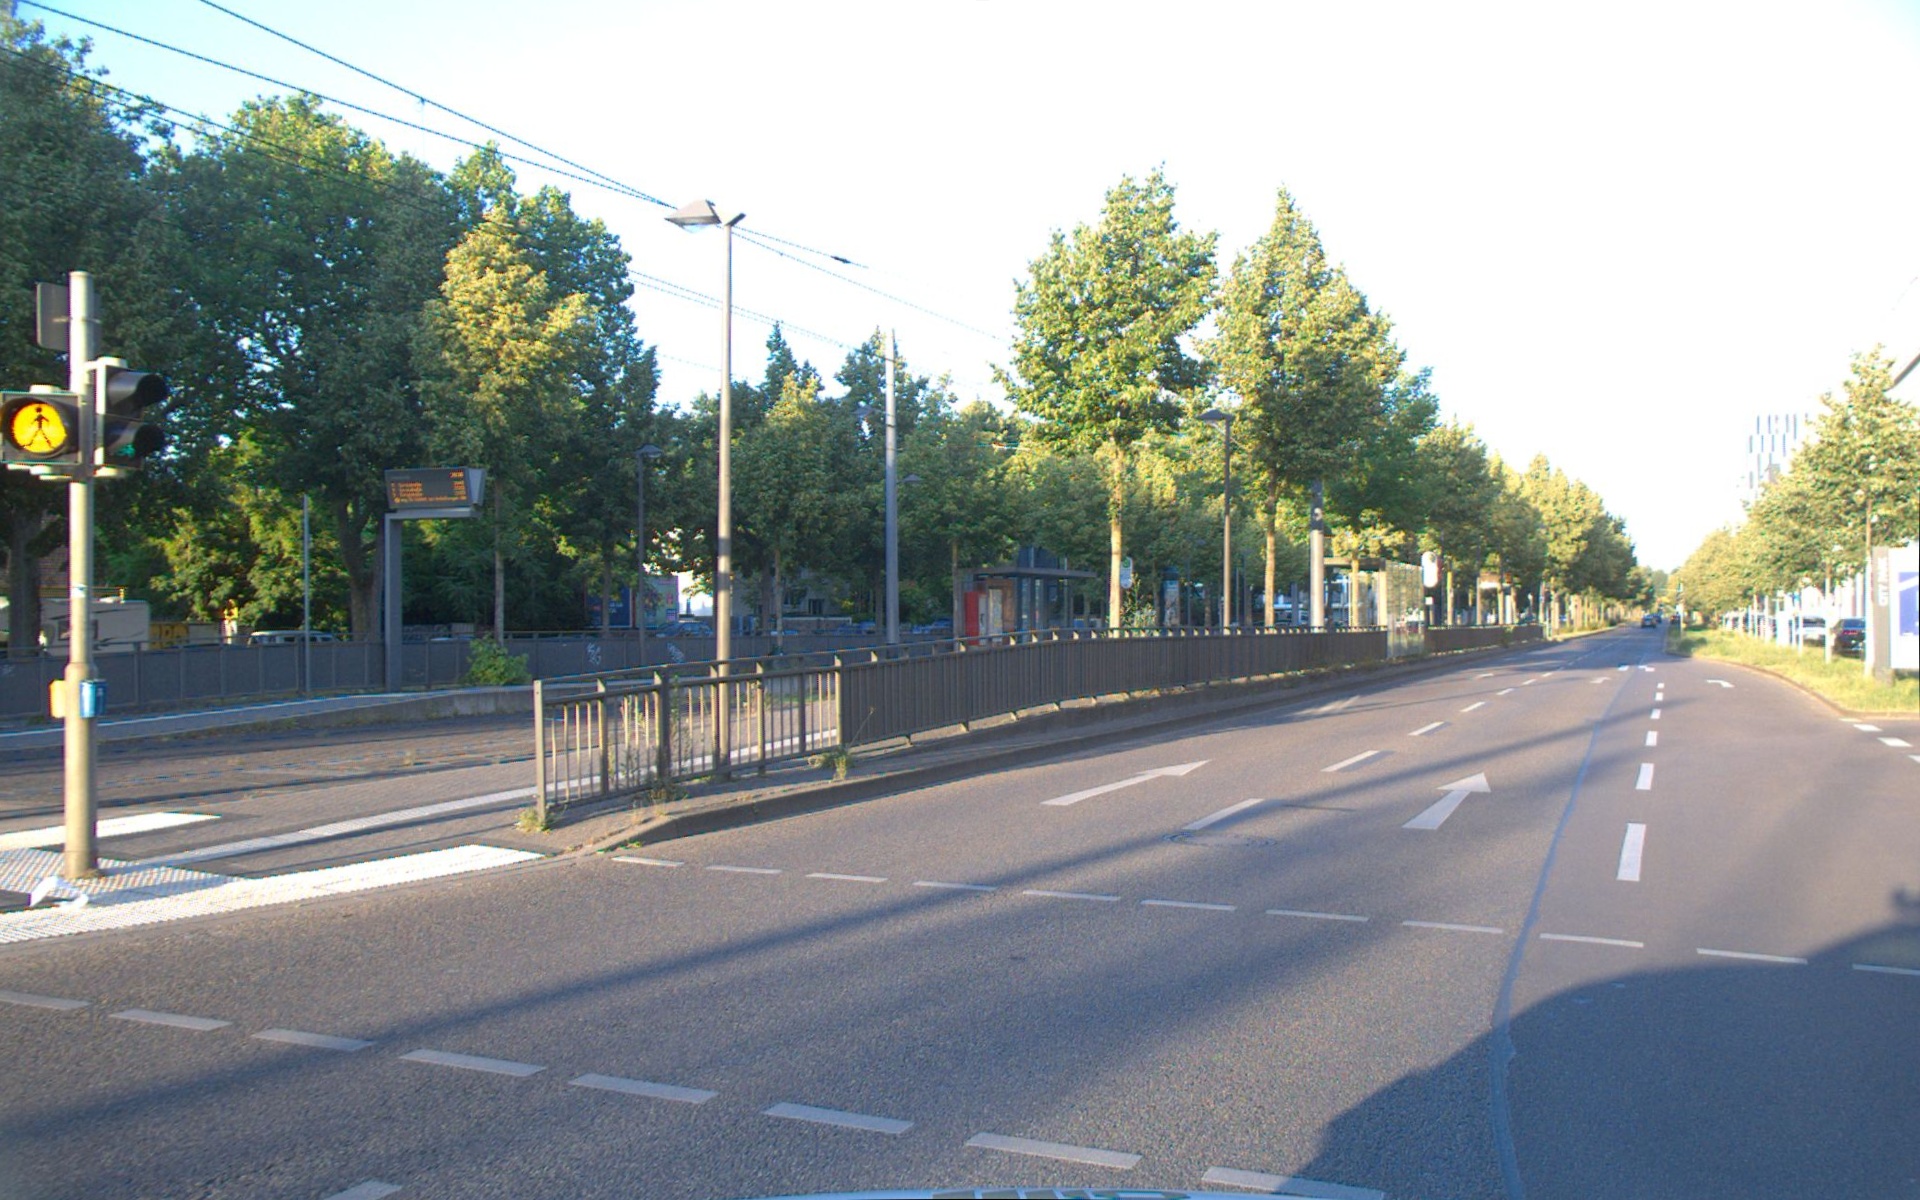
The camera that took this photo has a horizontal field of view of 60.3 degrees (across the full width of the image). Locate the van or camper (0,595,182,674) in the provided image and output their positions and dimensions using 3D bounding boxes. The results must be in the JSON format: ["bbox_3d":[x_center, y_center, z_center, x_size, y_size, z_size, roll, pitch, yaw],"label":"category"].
[{"bbox_3d":[-29.306,1.147,54.541,2.214,2.452,6.573,-2,-2,29],"label":"van or camper"}]

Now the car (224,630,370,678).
[{"bbox_3d":[-21.895,1.774,54.763,1.955,1.490,4.238,-1,-1,28],"label":"car"}]

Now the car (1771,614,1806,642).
[{"bbox_3d":[53.665,1.771,107.190,1.990,1.726,4.392,1,0,26],"label":"car"}]

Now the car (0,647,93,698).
[{"bbox_3d":[-26.295,1.977,45.256,1.883,1.323,4.238,-1,-1,28],"label":"car"}]

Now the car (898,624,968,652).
[{"bbox_3d":[-1.426,2.025,88.802,1.955,1.490,4.238,-1,-1,28],"label":"car"}]

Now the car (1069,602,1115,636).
[{"bbox_3d":[8.804,1.238,110.076,1.739,2.223,3.998,-1,-1,24],"label":"car"}]

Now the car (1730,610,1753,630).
[{"bbox_3d":[81.750,2.086,172.952,1.953,2.049,3.999,-1,-1,23],"label":"car"}]

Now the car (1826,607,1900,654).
[{"bbox_3d":[35.498,1.167,65.128,1.953,1.726,4.594,1,0,21],"label":"car"}]

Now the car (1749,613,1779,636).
[{"bbox_3d":[62.755,1.905,129.094,1.856,1.802,3.945,-1,-1,23],"label":"car"}]

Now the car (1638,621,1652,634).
[{"bbox_3d":[91.458,3.670,220.846,1.661,1.624,3.999,-2,-2,22],"label":"car"}]

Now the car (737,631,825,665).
[{"bbox_3d":[-8.037,2.145,74.623,1.955,1.490,4.238,-1,-1,28],"label":"car"}]

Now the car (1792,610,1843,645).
[{"bbox_3d":[44.626,1.432,86.153,1.953,1.726,4.414,1,0,23],"label":"car"}]
